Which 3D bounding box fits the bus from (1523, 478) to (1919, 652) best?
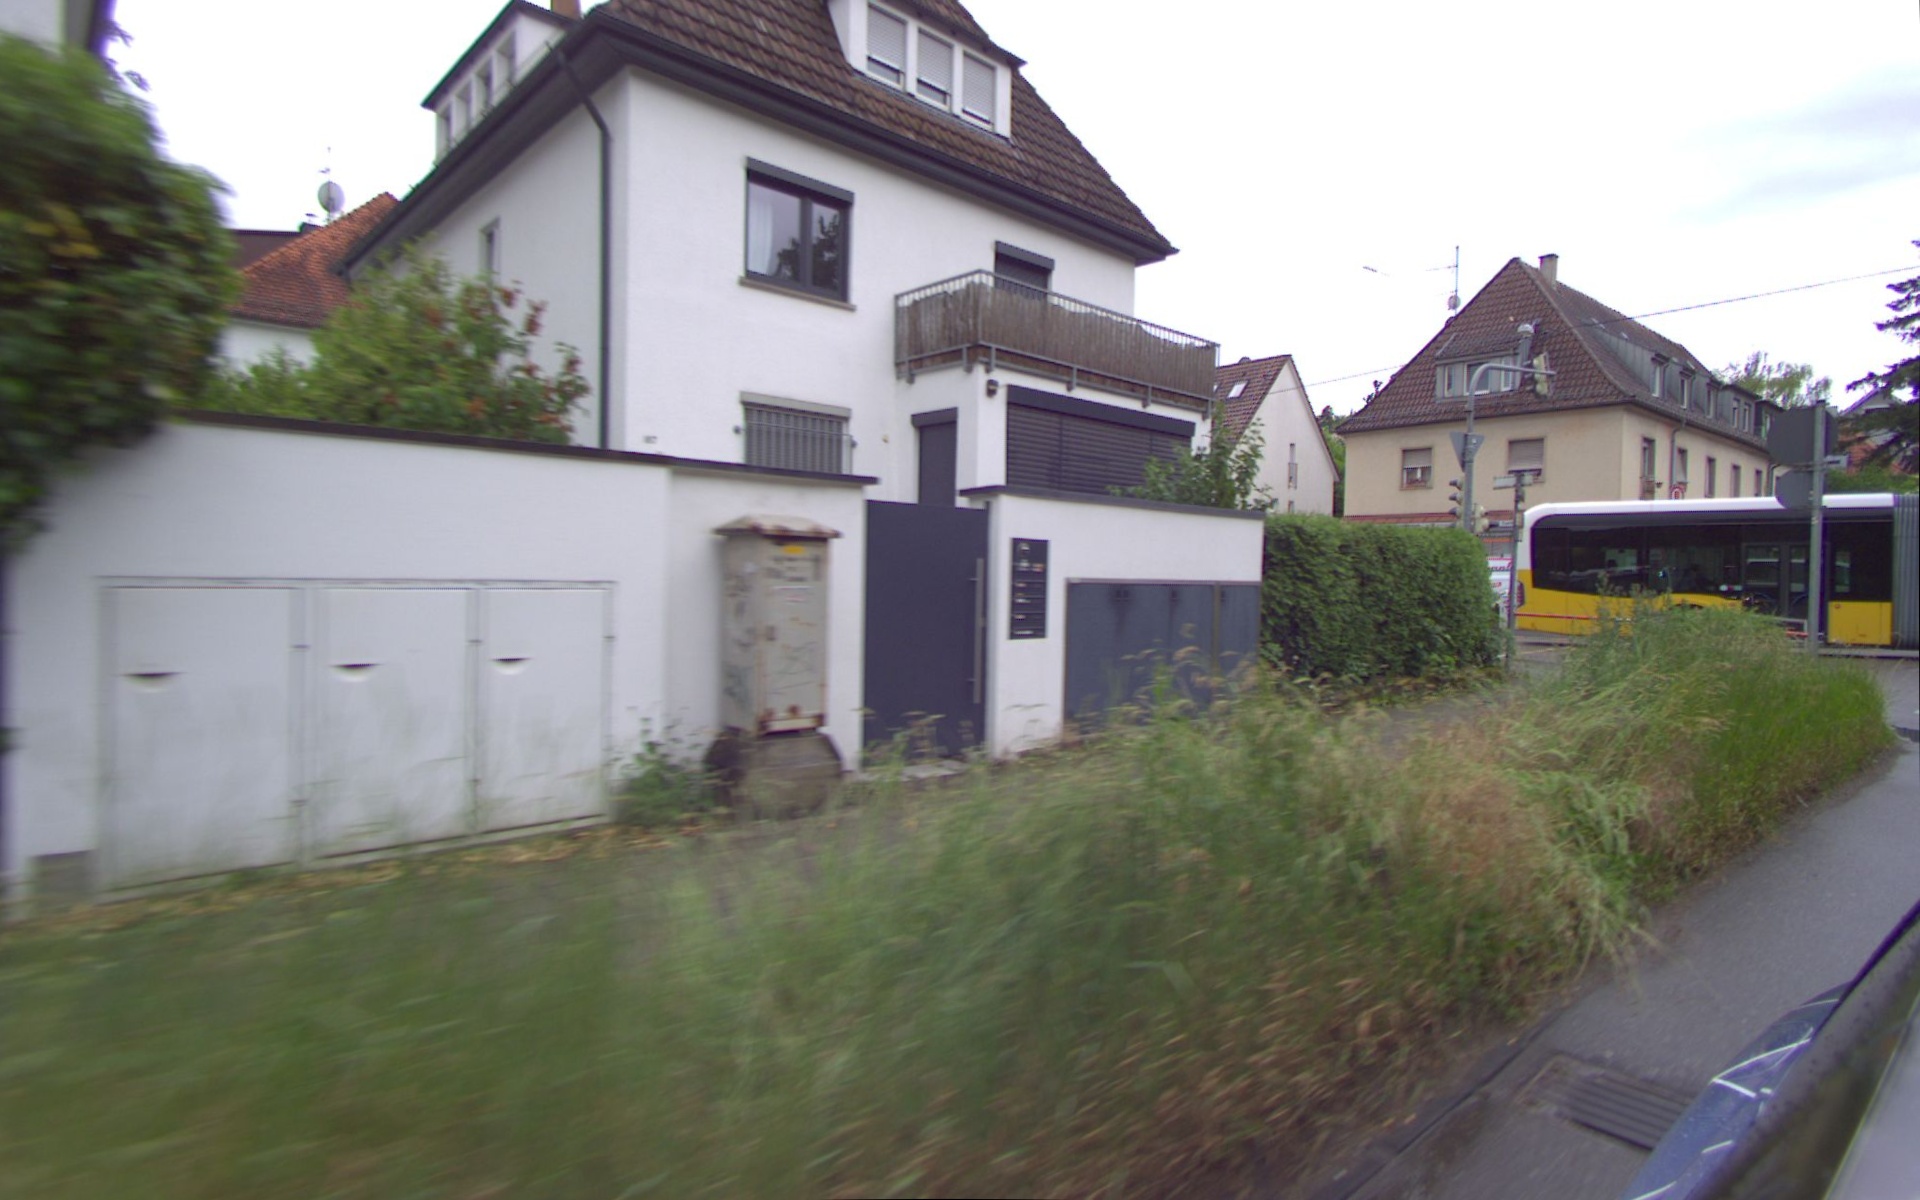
[{"bbox_3d":[17.547,-0.743,22.485,8.621,3.441,2.653,1,1,34],"label":"bus"}]
